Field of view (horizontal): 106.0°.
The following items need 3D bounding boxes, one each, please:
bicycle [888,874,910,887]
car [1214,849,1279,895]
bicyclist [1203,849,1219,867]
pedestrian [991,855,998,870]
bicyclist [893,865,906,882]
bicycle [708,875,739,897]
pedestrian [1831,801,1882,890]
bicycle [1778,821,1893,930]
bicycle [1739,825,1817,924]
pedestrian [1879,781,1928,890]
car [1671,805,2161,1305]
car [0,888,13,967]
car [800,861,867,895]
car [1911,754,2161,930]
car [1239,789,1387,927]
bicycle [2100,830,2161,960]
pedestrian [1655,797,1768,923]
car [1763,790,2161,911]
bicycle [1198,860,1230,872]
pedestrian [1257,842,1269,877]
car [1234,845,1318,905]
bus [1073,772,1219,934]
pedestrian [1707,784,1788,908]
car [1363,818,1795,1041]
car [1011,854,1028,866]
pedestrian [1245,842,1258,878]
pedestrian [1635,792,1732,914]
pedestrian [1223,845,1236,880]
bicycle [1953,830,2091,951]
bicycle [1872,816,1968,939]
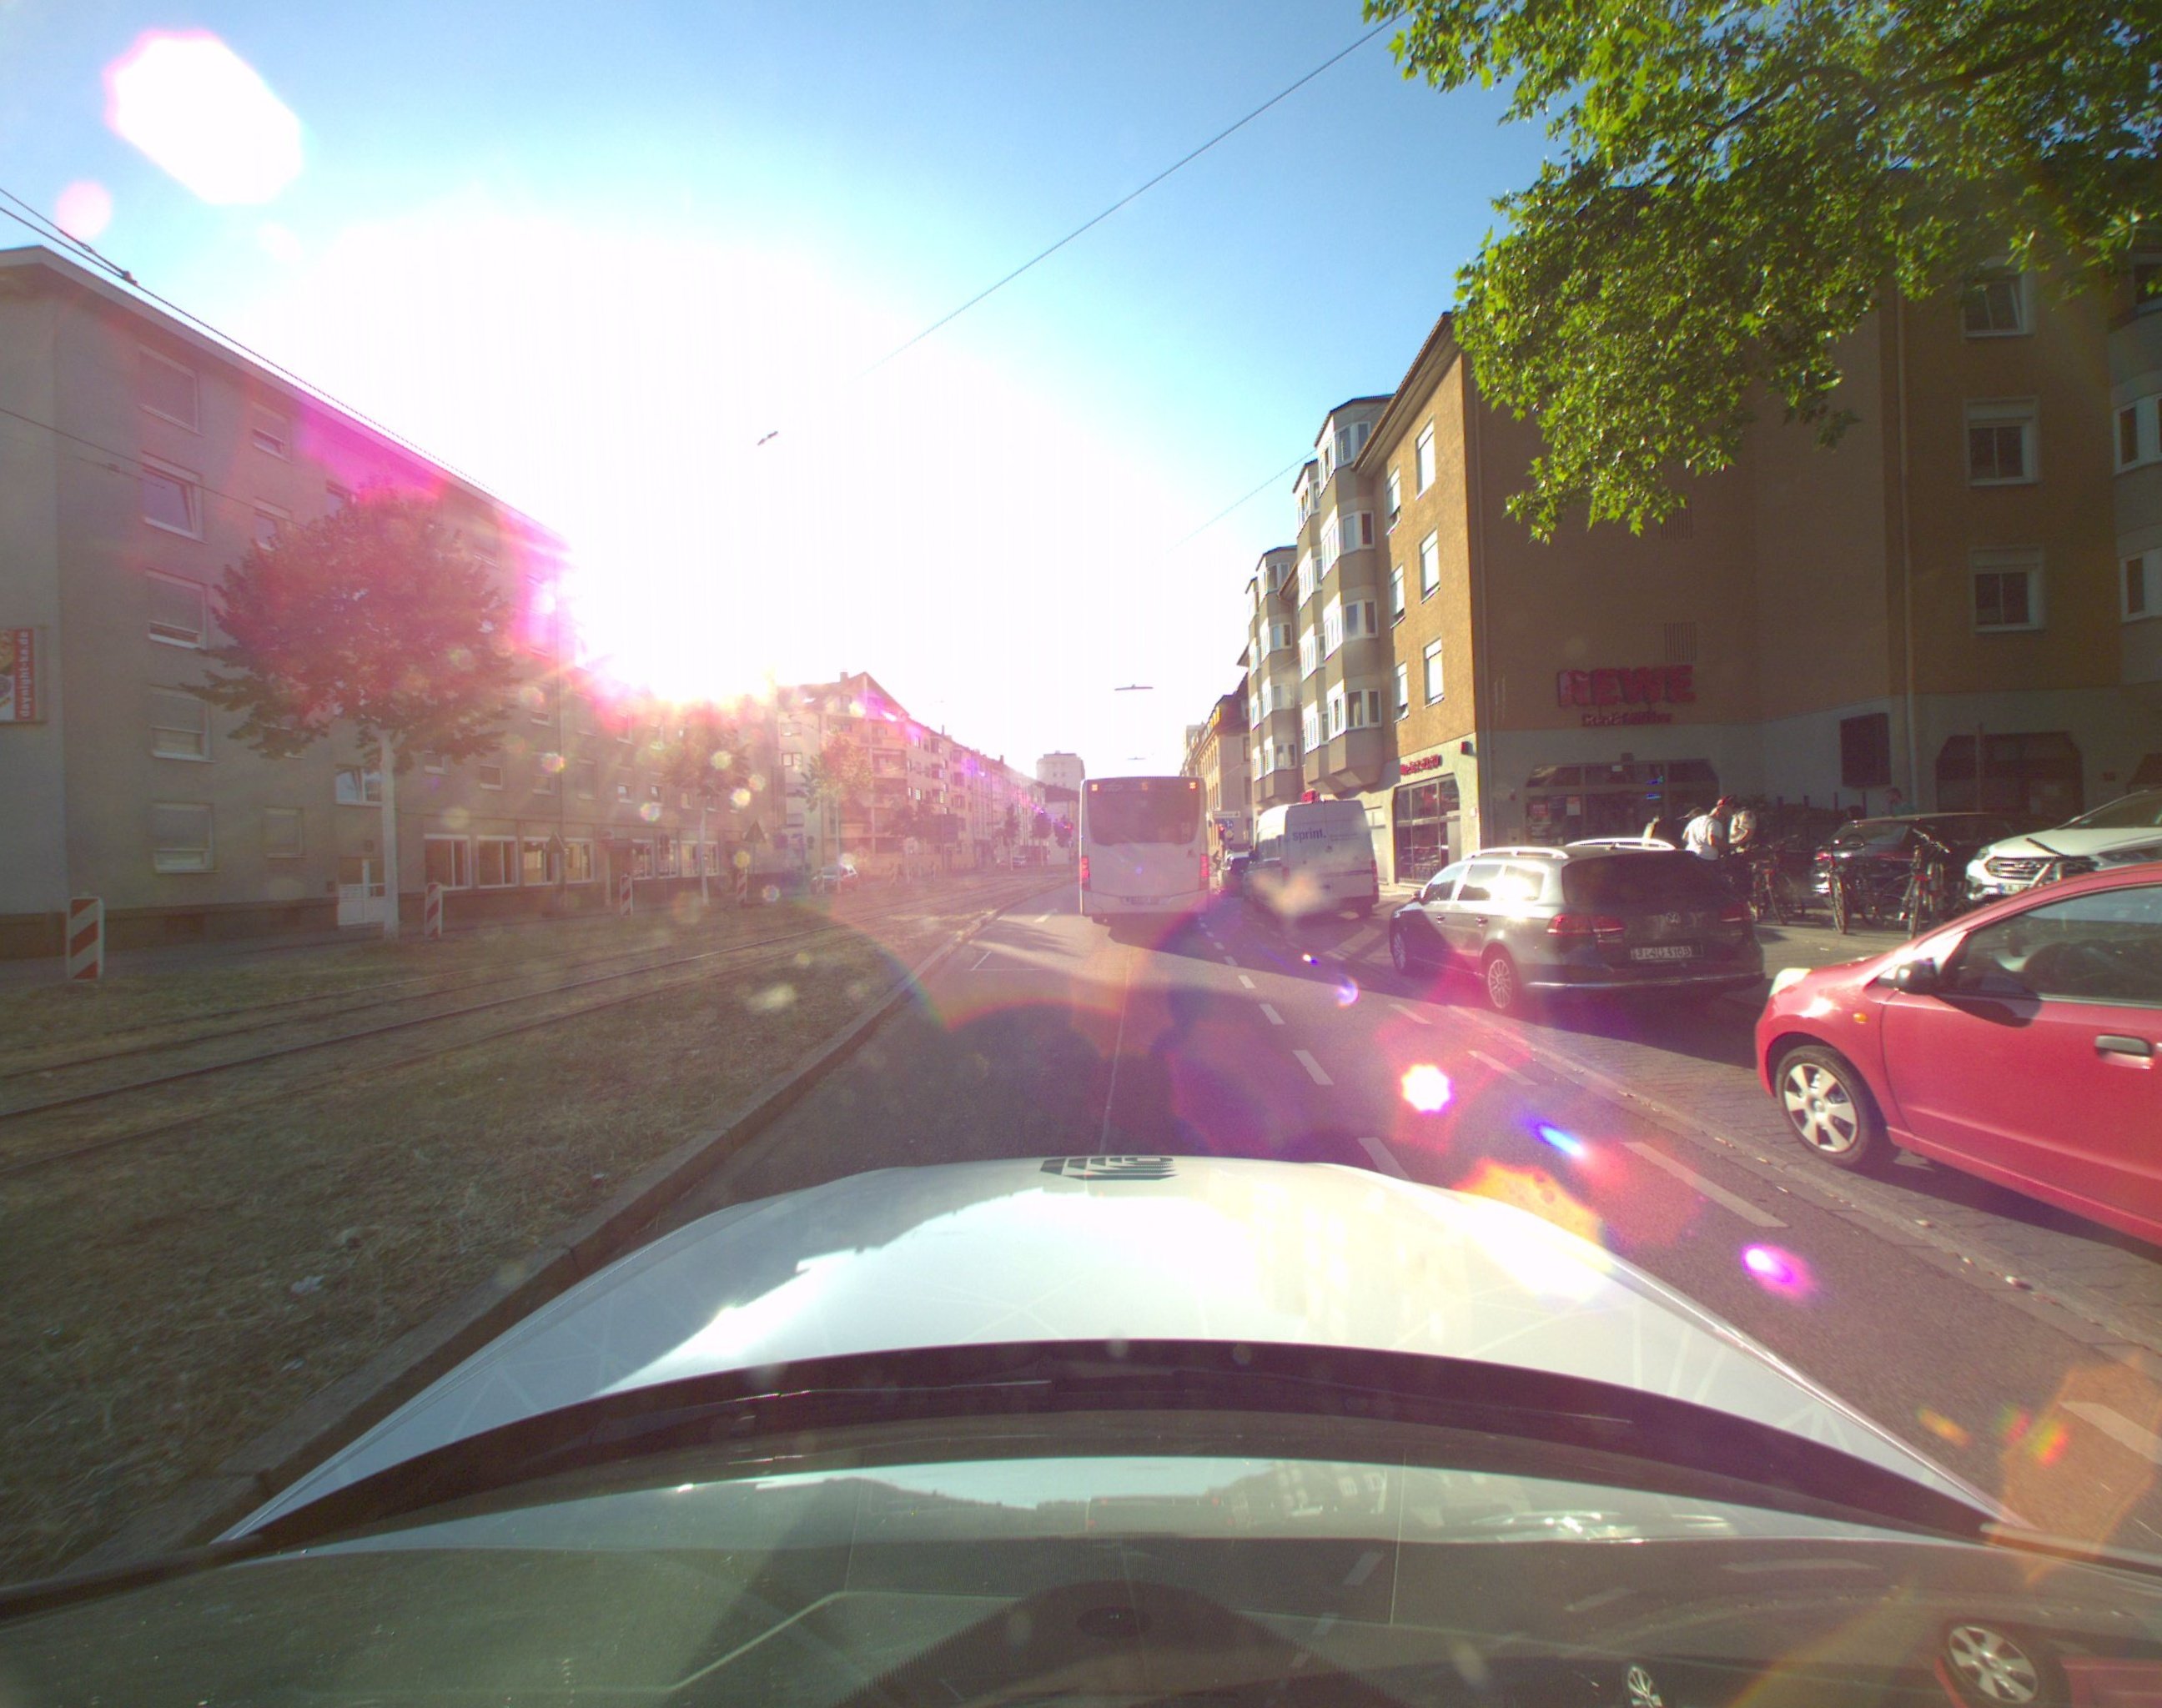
[{"bbox_3d":[-15.574,2.263,69.651,0.522,0.984,1.895,-3,0,35],"label":"bicycle"},{"bbox_3d":[6.110,0.626,30.454,1.830,1.536,4.235,-2,0,5],"label":"car"},{"bbox_3d":[9.024,0.288,56.651,0.931,1.161,0.642,-2,0,-7],"label":"bicyclist"},{"bbox_3d":[-12.455,1.232,116.854,0.784,2.013,0.891,-2,-1,1],"label":"pedestrian"},{"bbox_3d":[-15.528,1.662,69.691,0.522,1.447,0.971,-3,-1,35],"label":"bicyclist"},{"bbox_3d":[-19.363,1.731,44.100,0.743,1.115,1.780,-2,0,4],"label":"bicycle"},{"bbox_3d":[14.108,-0.156,14.819,0.640,1.568,0.418,-2,-1,-26],"label":"pedestrian"},{"bbox_3d":[9.249,0.237,9.969,1.589,1.226,0.644,-2,-1,-34],"label":"bicycle"},{"bbox_3d":[9.244,0.248,10.787,1.527,1.226,0.399,-2,-1,-36],"label":"bicycle"},{"bbox_3d":[14.619,-0.321,14.477,0.578,1.882,0.469,-2,-1,-37],"label":"pedestrian"},{"bbox_3d":[4.067,0.581,2.796,1.562,1.494,3.630,-4,0,4],"label":"car"},{"bbox_3d":[-22.814,1.509,15.301,3.791,1.512,1.824,-3,-1,12],"label":"car"},{"bbox_3d":[-14.161,1.336,46.847,1.803,1.559,4.944,-3,2,6],"label":"car"},{"bbox_3d":[12.370,-0.099,8.838,4.598,1.709,2.002,1,0,3],"label":"car"},{"bbox_3d":[5.166,0.088,19.075,2.008,2.551,5.791,-5,-1,4],"label":"car"},{"bbox_3d":[9.318,0.306,6.935,1.687,1.014,0.644,-2,0,-34],"label":"bicycle"},{"bbox_3d":[8.802,0.074,11.408,0.658,1.636,0.989,-5,0,-3],"label":"pedestrian"},{"bbox_3d":[12.644,0.000,11.641,3.997,1.432,2.001,-2,-3,3],"label":"car"},{"bbox_3d":[9.249,0.813,56.677,2.061,0.732,0.761,-2,0,-7],"label":"bicycle"},{"bbox_3d":[9.234,0.286,41.386,0.544,1.784,0.450,0,-1,4],"label":"pedestrian"},{"bbox_3d":[5.759,0.585,24.460,1.830,1.588,3.790,-2,0,5],"label":"car"},{"bbox_3d":[1.580,-0.009,19.872,2.726,3.056,8.864,-1,0,4],"label":"bus"},{"bbox_3d":[10.027,-0.118,12.264,0.526,1.781,0.650,-5,0,-3],"label":"pedestrian"},{"bbox_3d":[4.515,0.578,8.404,1.690,1.530,4.655,-5,0,3],"label":"car"},{"bbox_3d":[-9.522,0.864,125.498,1.803,1.797,4.252,-2,0,6],"label":"car"},{"bbox_3d":[8.597,0.312,41.074,0.544,1.784,0.450,-2,0,4],"label":"pedestrian"},{"bbox_3d":[9.218,-0.018,12.497,0.802,1.751,0.769,-5,0,4],"label":"pedestrian"},{"bbox_3d":[7.701,0.423,42.278,0.545,1.784,0.449,-2,-1,-1],"label":"pedestrian"},{"bbox_3d":[8.933,0.308,7.719,1.589,1.014,0.644,-2,0,-34],"label":"bicycle"},{"bbox_3d":[9.158,0.225,8.880,1.592,1.226,0.639,-2,-1,-43],"label":"bicycle"}]
